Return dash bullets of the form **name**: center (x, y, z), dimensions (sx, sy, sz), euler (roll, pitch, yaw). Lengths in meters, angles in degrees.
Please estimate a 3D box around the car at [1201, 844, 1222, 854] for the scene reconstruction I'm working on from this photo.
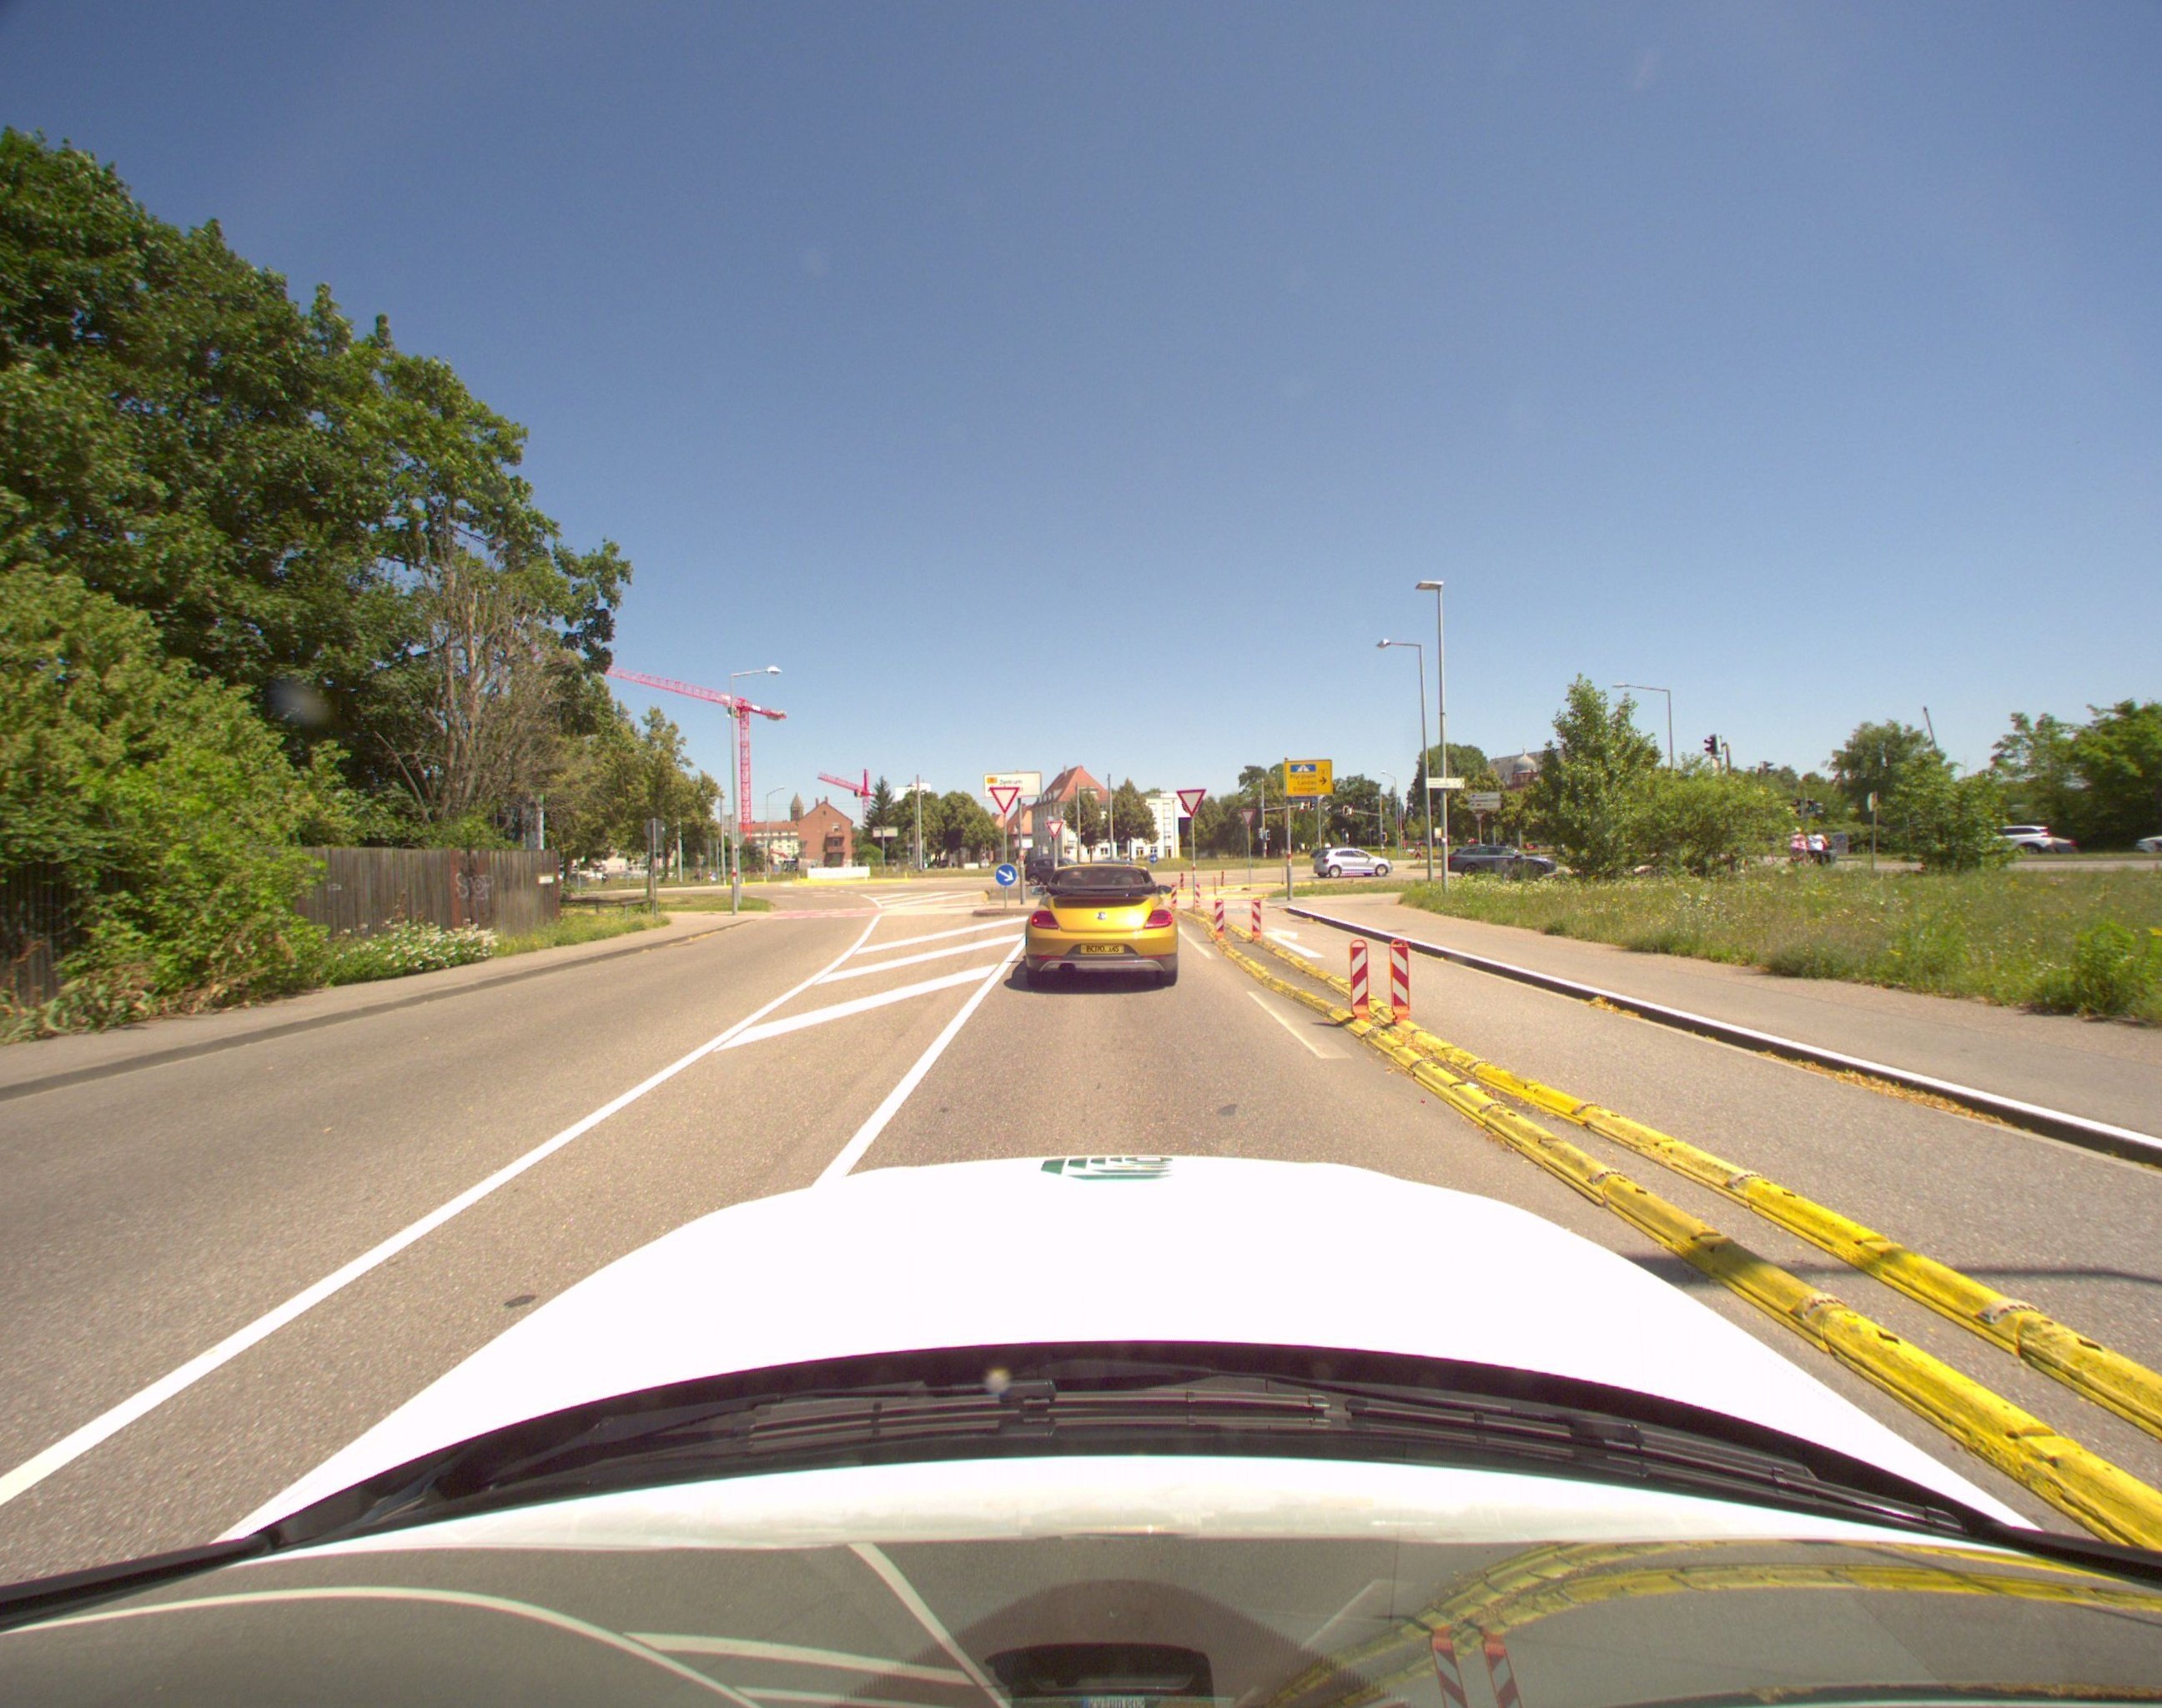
- **car**: center (27.034, -0.937, 168.926), dimensions (3.956, 2.014, 2.009), euler (-1, -1, 16)

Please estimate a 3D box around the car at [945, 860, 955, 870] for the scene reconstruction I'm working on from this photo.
- **car**: center (-26.883, 2.257, 167.184), dimensions (1.994, 2.014, 3.985), euler (0, -1, -11)

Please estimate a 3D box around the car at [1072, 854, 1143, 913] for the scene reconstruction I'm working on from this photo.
- **car**: center (0.836, 0.767, 23.114), dimensions (1.789, 1.440, 4.005), euler (-1, 1, 4)

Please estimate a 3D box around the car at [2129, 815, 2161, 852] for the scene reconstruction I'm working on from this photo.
- **car**: center (51.209, -1.003, 36.864), dimensions (4.352, 1.683, 1.876), euler (-2, 0, 44)

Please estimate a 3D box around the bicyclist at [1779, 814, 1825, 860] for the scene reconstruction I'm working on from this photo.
- **bicyclist**: center (25.863, -0.599, 29.213), dimensions (1.190, 1.610, 0.950), euler (0, -1, -33)

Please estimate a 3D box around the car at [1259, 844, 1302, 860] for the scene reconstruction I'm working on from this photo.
- **car**: center (19.697, -0.205, 80.441), dimensions (2.006, 1.464, 3.962), euler (0, -1, -30)

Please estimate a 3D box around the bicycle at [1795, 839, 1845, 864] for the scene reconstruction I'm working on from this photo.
- **bicycle**: center (29.102, -0.119, 32.067), dimensions (1.766, 0.900, 0.891), euler (-3, 2, -27)

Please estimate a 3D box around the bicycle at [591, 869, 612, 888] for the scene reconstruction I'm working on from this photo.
- **bicycle**: center (-42.516, 2.170, 72.263), dimensions (0.556, 1.684, 2.086), euler (0, -1, 1)

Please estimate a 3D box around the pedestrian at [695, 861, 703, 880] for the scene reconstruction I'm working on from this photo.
- **pedestrian**: center (-41.389, 1.819, 88.274), dimensions (0.599, 2.014, 0.595), euler (0, -1, 1)

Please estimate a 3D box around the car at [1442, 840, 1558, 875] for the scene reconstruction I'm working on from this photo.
- **car**: center (18.945, 0.159, 37.058), dimensions (4.404, 1.418, 2.010), euler (-2, 0, 19)

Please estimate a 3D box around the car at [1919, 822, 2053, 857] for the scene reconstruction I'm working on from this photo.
- **car**: center (45.570, -0.713, 41.163), dimensions (4.352, 1.618, 1.876), euler (-2, 0, 44)

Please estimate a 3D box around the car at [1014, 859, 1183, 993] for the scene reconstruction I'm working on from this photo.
- **car**: center (0.245, 0.795, 10.707), dimensions (1.819, 1.403, 3.663), euler (-1, 0, 2)

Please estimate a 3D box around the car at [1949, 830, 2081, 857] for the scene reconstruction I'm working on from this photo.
- **car**: center (48.861, -0.516, 42.762), dimensions (4.352, 1.270, 1.876), euler (-2, 0, 44)

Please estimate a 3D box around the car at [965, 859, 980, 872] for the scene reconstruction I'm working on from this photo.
- **car**: center (-16.882, 1.754, 126.657), dimensions (1.994, 2.014, 3.985), euler (0, -1, -11)

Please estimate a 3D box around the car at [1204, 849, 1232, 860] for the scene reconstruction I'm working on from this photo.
- **car**: center (22.041, 0.082, 131.427), dimensions (3.988, 1.684, 1.993), euler (0, -1, -11)

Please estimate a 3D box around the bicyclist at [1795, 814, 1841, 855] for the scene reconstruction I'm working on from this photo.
- **bicyclist**: center (29.097, -0.774, 32.139), dimensions (1.189, 1.531, 0.951), euler (-3, 0, -28)

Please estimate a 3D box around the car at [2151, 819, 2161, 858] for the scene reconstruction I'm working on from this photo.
- **car**: center (49.140, -0.741, 34.485), dimensions (4.352, 1.683, 1.876), euler (-2, 0, 44)

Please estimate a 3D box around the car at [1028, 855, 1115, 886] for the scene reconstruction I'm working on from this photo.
- **car**: center (-0.449, 0.834, 41.480), dimensions (4.036, 1.403, 1.761), euler (-2, 1, 16)

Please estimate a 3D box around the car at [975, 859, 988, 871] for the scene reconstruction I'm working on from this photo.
- **car**: center (-17.446, 1.934, 143.316), dimensions (1.994, 2.014, 3.985), euler (0, -1, -11)

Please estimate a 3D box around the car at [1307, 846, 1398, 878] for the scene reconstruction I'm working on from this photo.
- **car**: center (13.698, 0.382, 41.153), dimensions (3.985, 1.422, 1.777), euler (-2, 0, -9)

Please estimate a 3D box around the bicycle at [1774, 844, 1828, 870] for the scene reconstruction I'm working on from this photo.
- **bicycle**: center (25.788, 0.087, 29.157), dimensions (2.234, 0.900, 0.889), euler (-1, 1, -33)
